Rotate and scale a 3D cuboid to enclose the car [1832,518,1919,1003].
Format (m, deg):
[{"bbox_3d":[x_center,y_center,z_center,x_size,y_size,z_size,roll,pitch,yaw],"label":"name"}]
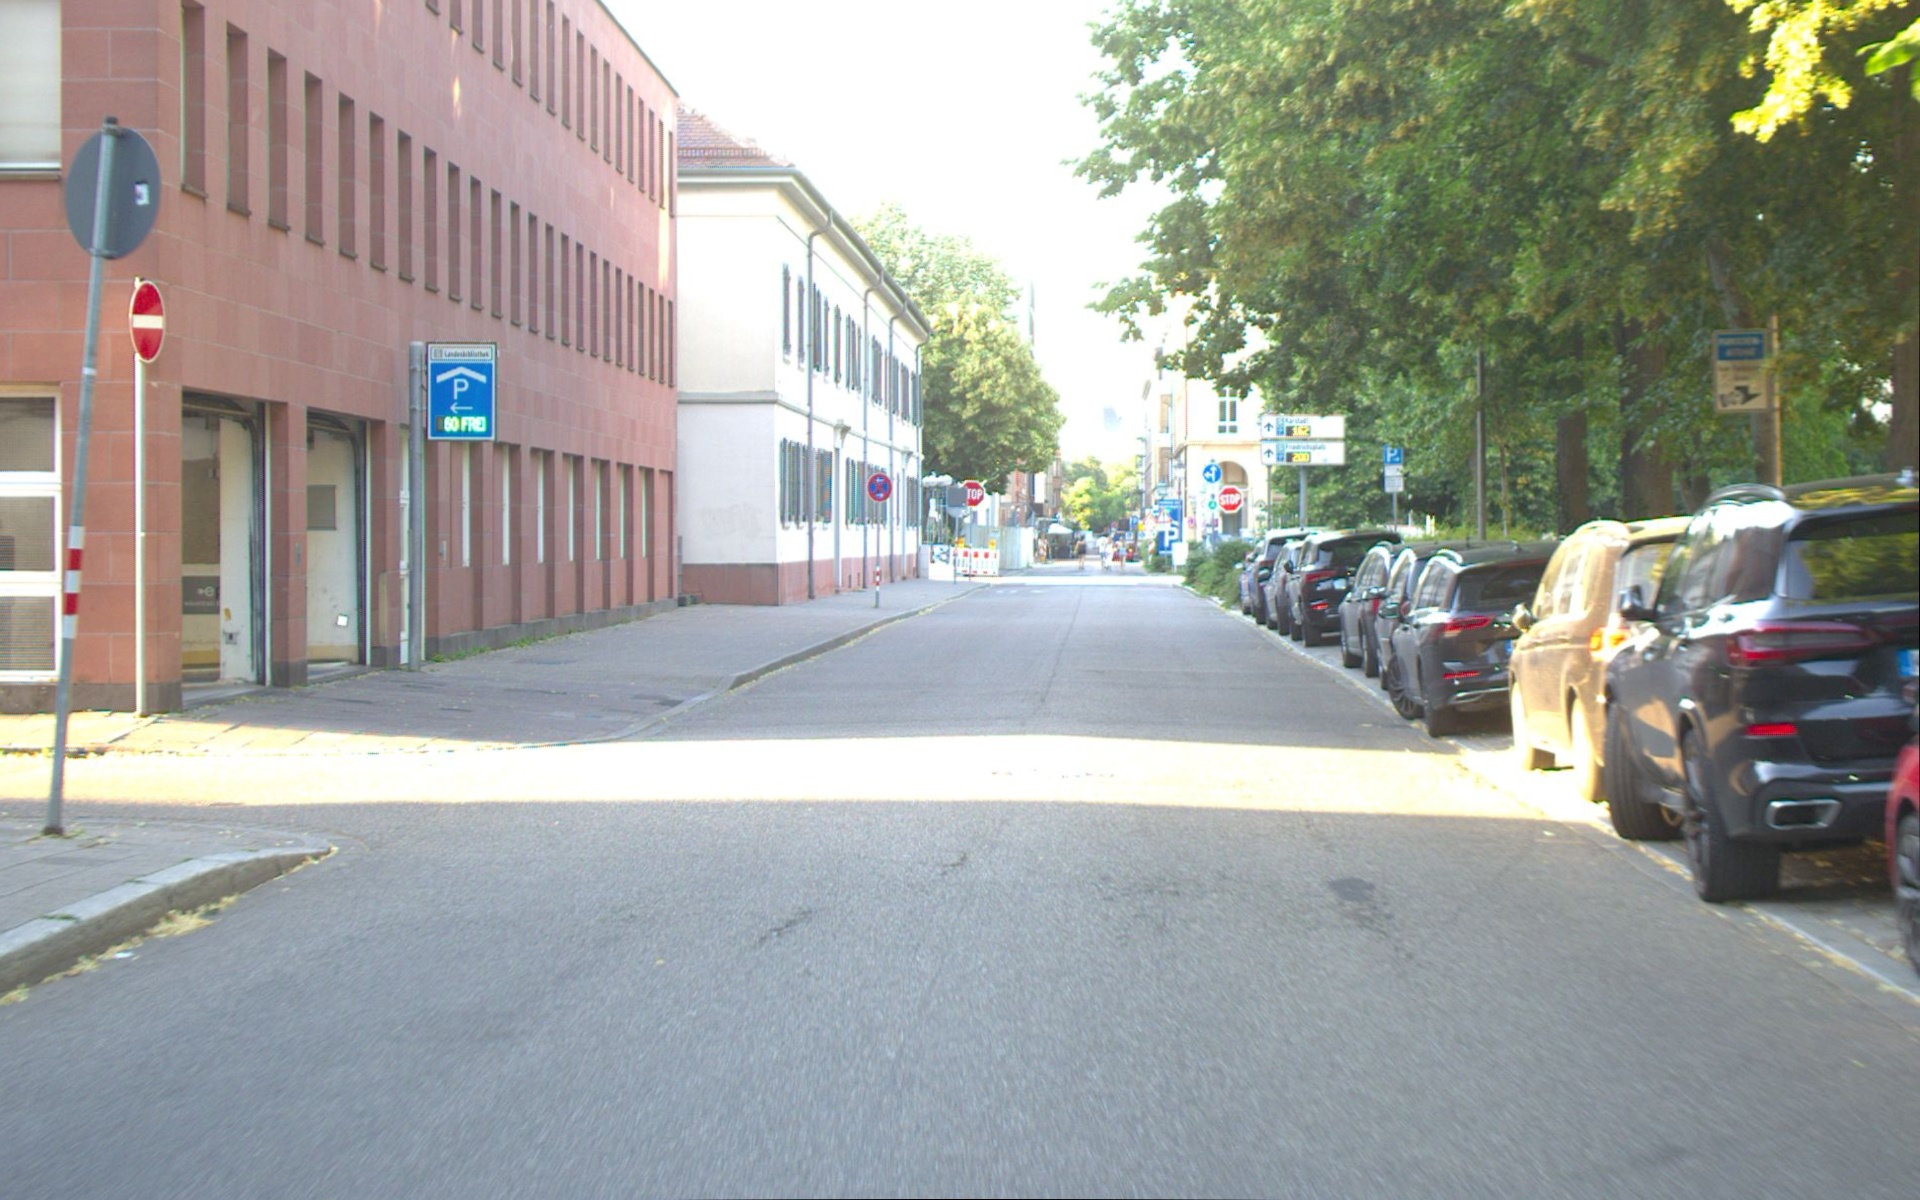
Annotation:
[{"bbox_3d":[3.993,0.520,10.330,1.724,1.583,3.969,-1,0,0],"label":"car"}]

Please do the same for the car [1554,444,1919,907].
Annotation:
[{"bbox_3d":[3.974,0.281,15.901,1.805,1.807,4.947,-1,0,3],"label":"car"}]

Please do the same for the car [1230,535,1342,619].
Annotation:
[{"bbox_3d":[6.351,-0.461,67.372,1.724,1.483,4.610,-4,1,1],"label":"car"}]

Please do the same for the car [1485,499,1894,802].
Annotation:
[{"bbox_3d":[4.416,0.274,21.450,1.724,1.676,4.499,-1,0,2],"label":"car"}]

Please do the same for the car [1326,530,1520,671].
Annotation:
[{"bbox_3d":[5.212,-0.003,39.154,1.735,1.501,4.522,-1,0,2],"label":"car"}]

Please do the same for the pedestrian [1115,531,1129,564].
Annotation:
[{"bbox_3d":[7.943,-2.562,168.805,0.657,1.611,0.745,0,1,3],"label":"pedestrian"}]

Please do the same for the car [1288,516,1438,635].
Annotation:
[{"bbox_3d":[5.842,-0.346,50.268,1.807,1.646,4.418,-1,0,2],"label":"car"}]

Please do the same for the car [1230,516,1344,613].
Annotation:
[{"bbox_3d":[5.787,-0.621,61.246,1.724,1.646,4.713,-1,0,2],"label":"car"}]

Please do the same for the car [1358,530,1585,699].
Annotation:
[{"bbox_3d":[4.933,0.125,33.646,1.724,1.528,4.189,-1,0,2],"label":"car"}]

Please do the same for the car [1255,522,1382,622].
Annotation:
[{"bbox_3d":[5.728,-0.437,55.306,1.724,1.533,4.189,-1,0,2],"label":"car"}]

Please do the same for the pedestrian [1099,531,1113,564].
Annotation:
[{"bbox_3d":[7.157,-2.583,168.866,0.657,1.611,0.745,0,1,3],"label":"pedestrian"}]

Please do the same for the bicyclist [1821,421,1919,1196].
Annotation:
[{"bbox_3d":[2.359,0.423,7.386,0.751,1.607,1.038,-1,1,0],"label":"bicyclist"}]

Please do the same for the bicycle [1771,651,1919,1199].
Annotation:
[{"bbox_3d":[2.387,0.776,7.406,0.751,1.248,2.210,-1,1,0],"label":"bicycle"}]

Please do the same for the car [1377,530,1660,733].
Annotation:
[{"bbox_3d":[4.527,0.228,28.463,1.724,1.528,4.623,-1,0,2],"label":"car"}]
